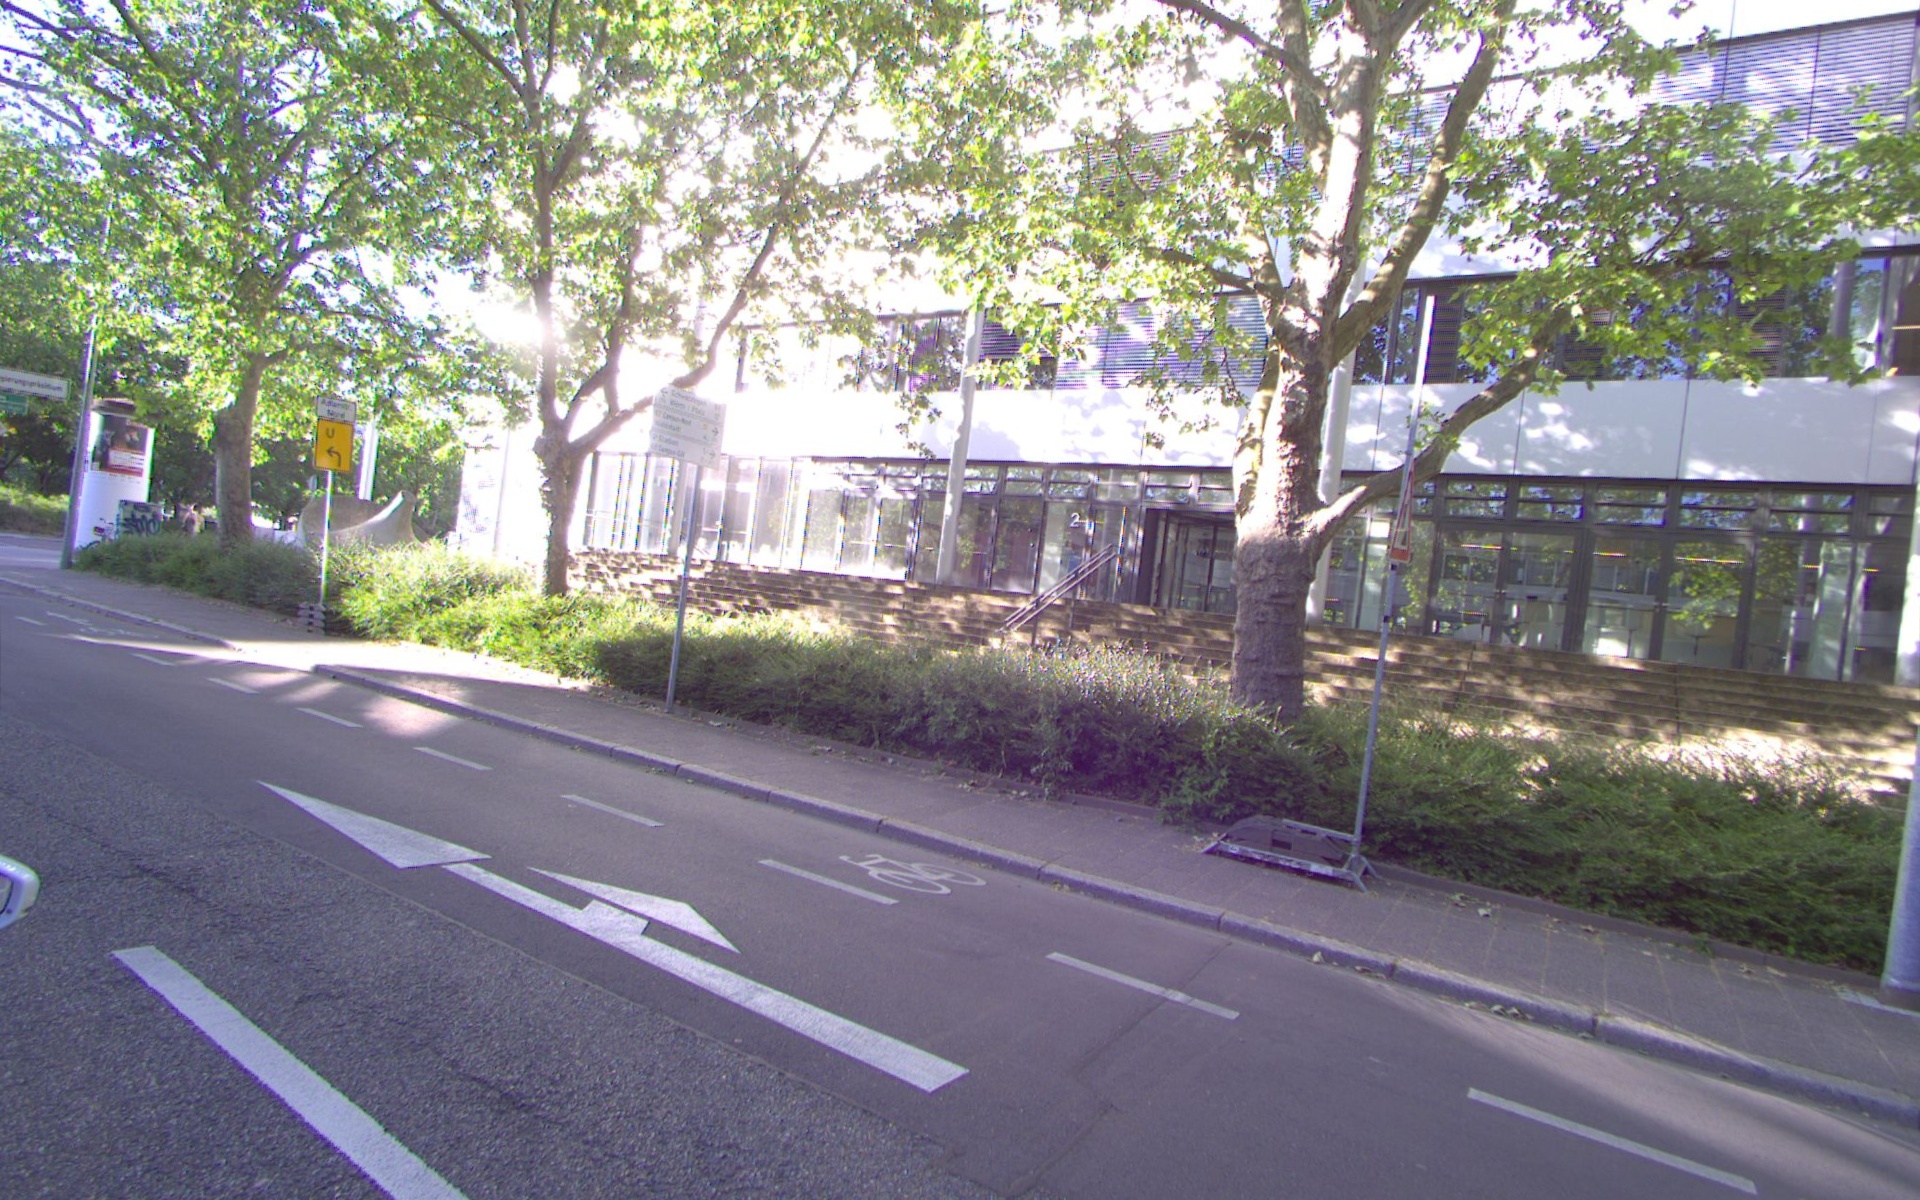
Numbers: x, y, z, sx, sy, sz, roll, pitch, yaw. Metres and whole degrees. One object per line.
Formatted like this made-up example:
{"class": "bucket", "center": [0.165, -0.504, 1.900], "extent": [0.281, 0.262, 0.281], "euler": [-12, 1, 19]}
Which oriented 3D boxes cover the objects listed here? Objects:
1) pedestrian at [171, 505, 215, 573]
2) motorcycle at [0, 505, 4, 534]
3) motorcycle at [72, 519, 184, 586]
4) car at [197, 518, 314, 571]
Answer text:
{"class": "pedestrian", "center": [-21.935, -1.743, 28.782], "extent": [0.656, 1.849, 0.648], "euler": [7, 0, 31]}
{"class": "motorcycle", "center": [-34.076, -2.892, 34.523], "extent": [0.409, 1.014, 1.720], "euler": [7, -1, 36]}
{"class": "motorcycle", "center": [-19.223, -1.092, 23.277], "extent": [0.712, 1.257, 1.782], "euler": [6, -2, 37]}
{"class": "car", "center": [-32.697, -2.561, 46.819], "extent": [1.708, 1.792, 3.996], "euler": [7, -1, 30]}
